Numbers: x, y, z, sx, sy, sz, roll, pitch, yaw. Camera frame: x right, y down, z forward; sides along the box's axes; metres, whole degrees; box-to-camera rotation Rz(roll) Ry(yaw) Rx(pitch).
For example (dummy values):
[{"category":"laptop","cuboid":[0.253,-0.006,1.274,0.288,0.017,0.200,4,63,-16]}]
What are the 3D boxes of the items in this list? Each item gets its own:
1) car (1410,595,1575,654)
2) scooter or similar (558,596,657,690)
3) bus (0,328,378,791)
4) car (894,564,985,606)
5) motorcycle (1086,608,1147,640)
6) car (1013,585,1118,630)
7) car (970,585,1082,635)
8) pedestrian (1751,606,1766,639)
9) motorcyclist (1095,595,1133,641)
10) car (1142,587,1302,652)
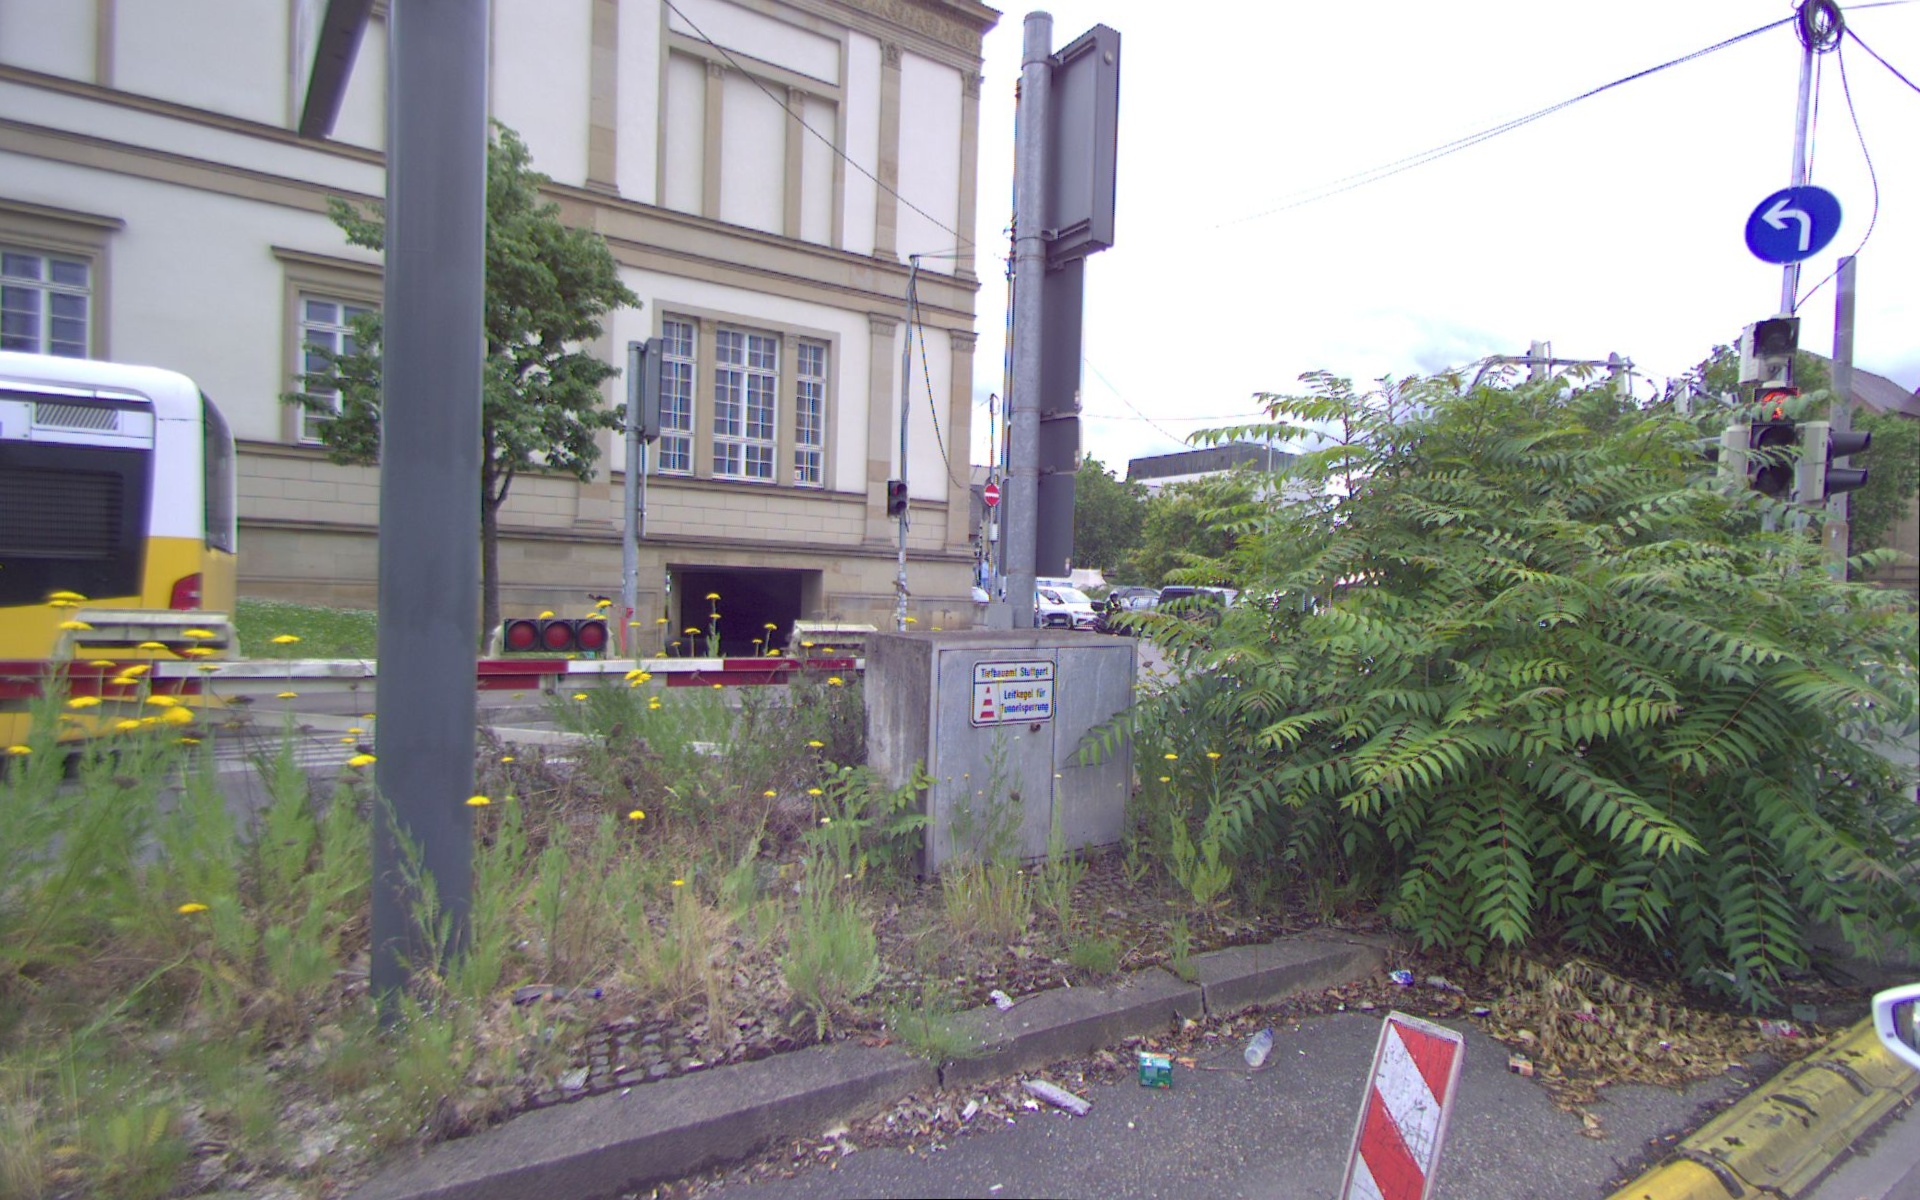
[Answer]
[{"category":"car","cuboid":[17.127,0.737,32.449,1.986,1.698,4.271,1,1,-43]},{"category":"scooter or similar","cuboid":[-4.944,0.595,14.131,1.132,1.190,0.540,6,0,-10]},{"category":"bus","cuboid":[-9.226,-0.341,6.878,9.017,3.156,2.831,1,1,-31]},{"category":"car","cuboid":[-0.945,-0.672,43.682,1.979,1.698,4.285,1,1,-34]},{"category":"motorcycle","cuboid":[5.070,0.763,32.649,0.749,0.937,2.042,1,1,-35]},{"category":"car","cuboid":[4.231,0.282,40.988,1.979,1.698,4.285,1,1,-34]},{"category":"car","cuboid":[2.408,0.345,37.800,1.979,1.698,4.285,1,1,-34]},{"category":"pedestrian","cuboid":[49.772,1.375,62.623,0.516,2.040,0.428,2,1,17]},{"category":"motorcyclist","cuboid":[5.012,0.571,32.781,0.738,1.442,0.959,1,1,-35]},{"category":"car","cuboid":[7.543,0.519,29.277,1.979,1.698,4.285,1,1,-34]}]
